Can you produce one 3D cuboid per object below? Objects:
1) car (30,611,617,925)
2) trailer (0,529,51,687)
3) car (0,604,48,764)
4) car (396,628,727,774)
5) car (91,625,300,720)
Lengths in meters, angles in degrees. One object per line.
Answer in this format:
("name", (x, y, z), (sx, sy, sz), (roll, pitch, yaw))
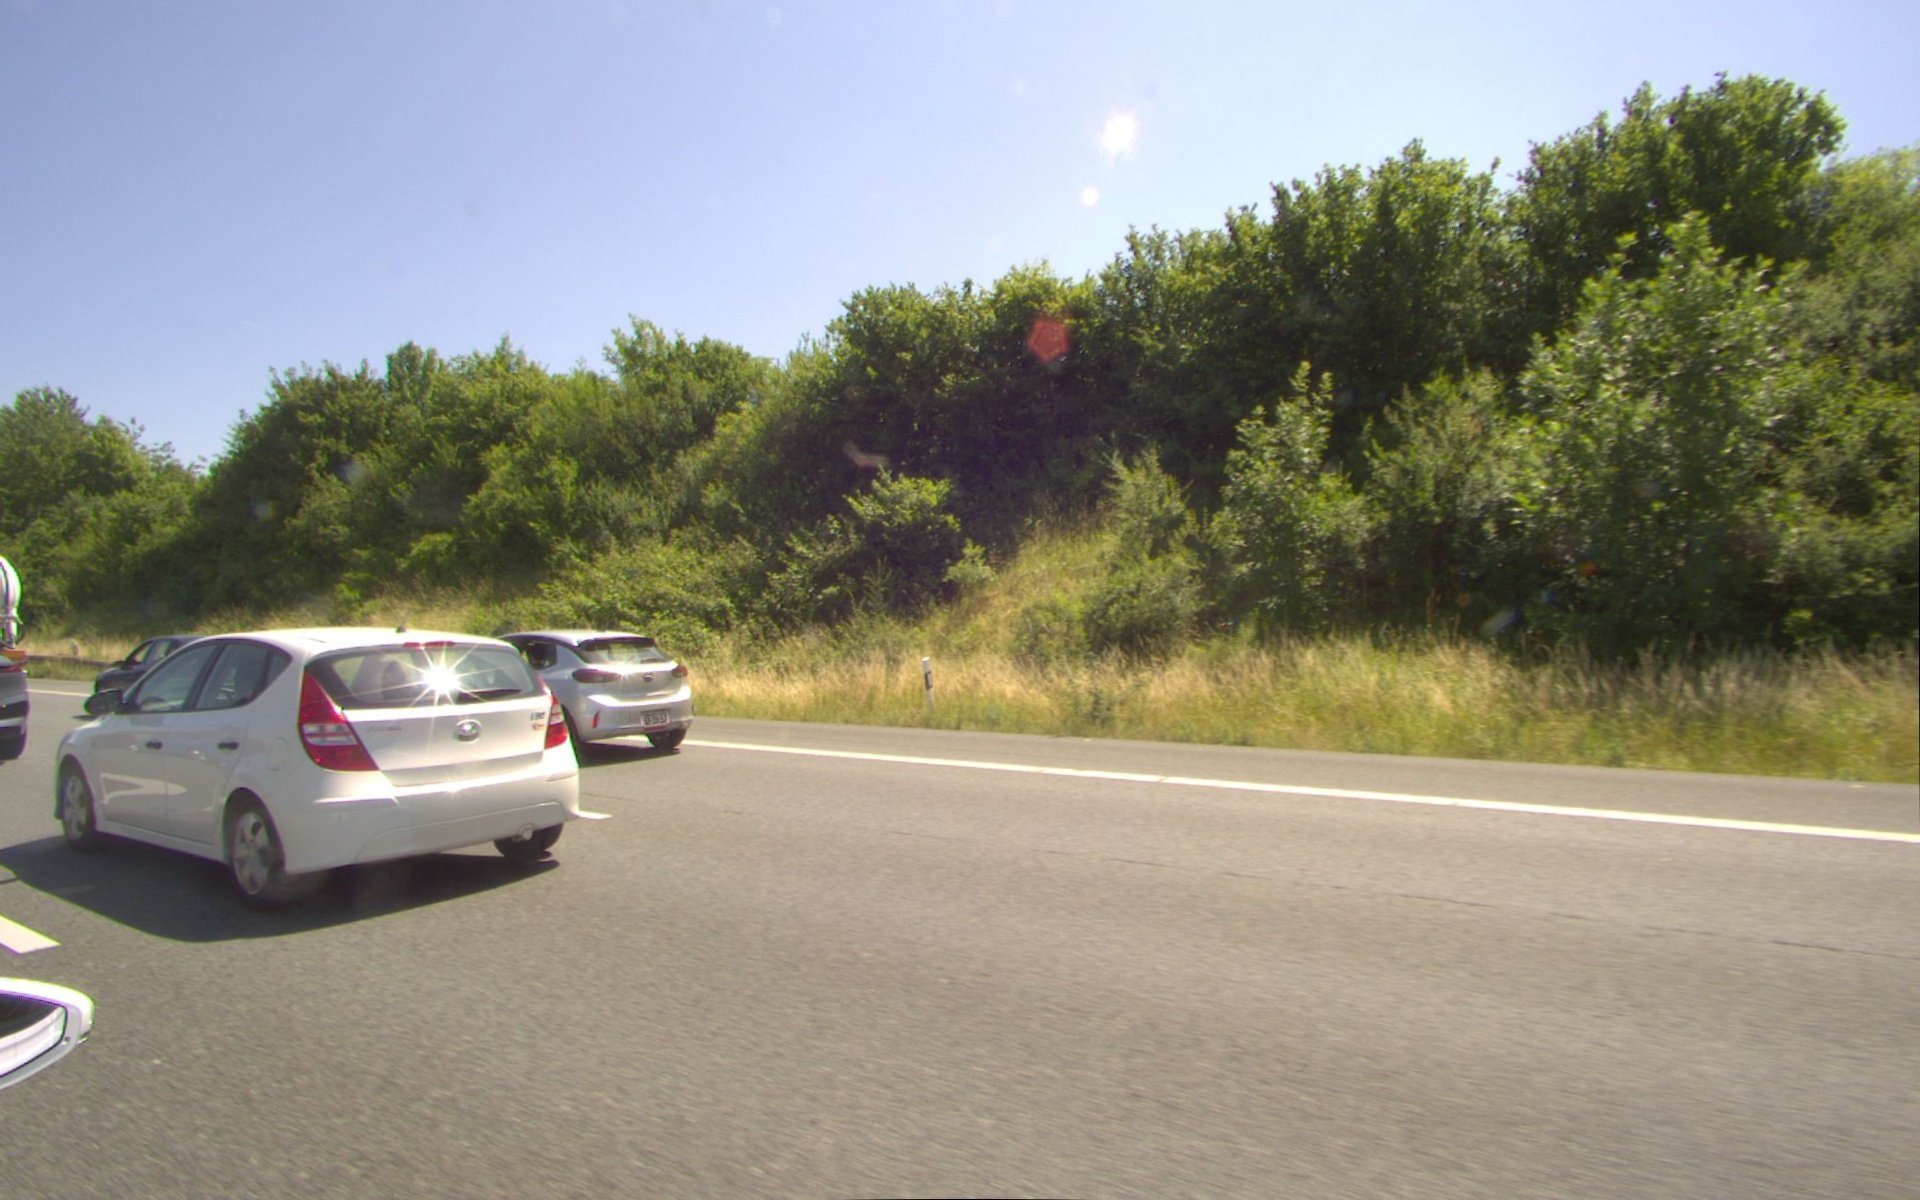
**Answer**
("car", (-4.311, 0.875, 6.639), (3.944, 1.504, 1.813), (-2, -1, 33))
("trailer", (-28.617, 0.279, 27.245), (11.320, 3.895, 2.756), (-1, -1, 32))
("car", (-12.634, 0.964, 11.584), (4.560, 1.737, 1.995), (-2, -1, 33))
("car", (-4.890, 1.091, 12.167), (3.970, 1.462, 1.728), (0, -1, 32))
("car", (-13.296, 1.203, 17.366), (3.933, 1.435, 1.638), (-2, -1, 33))
